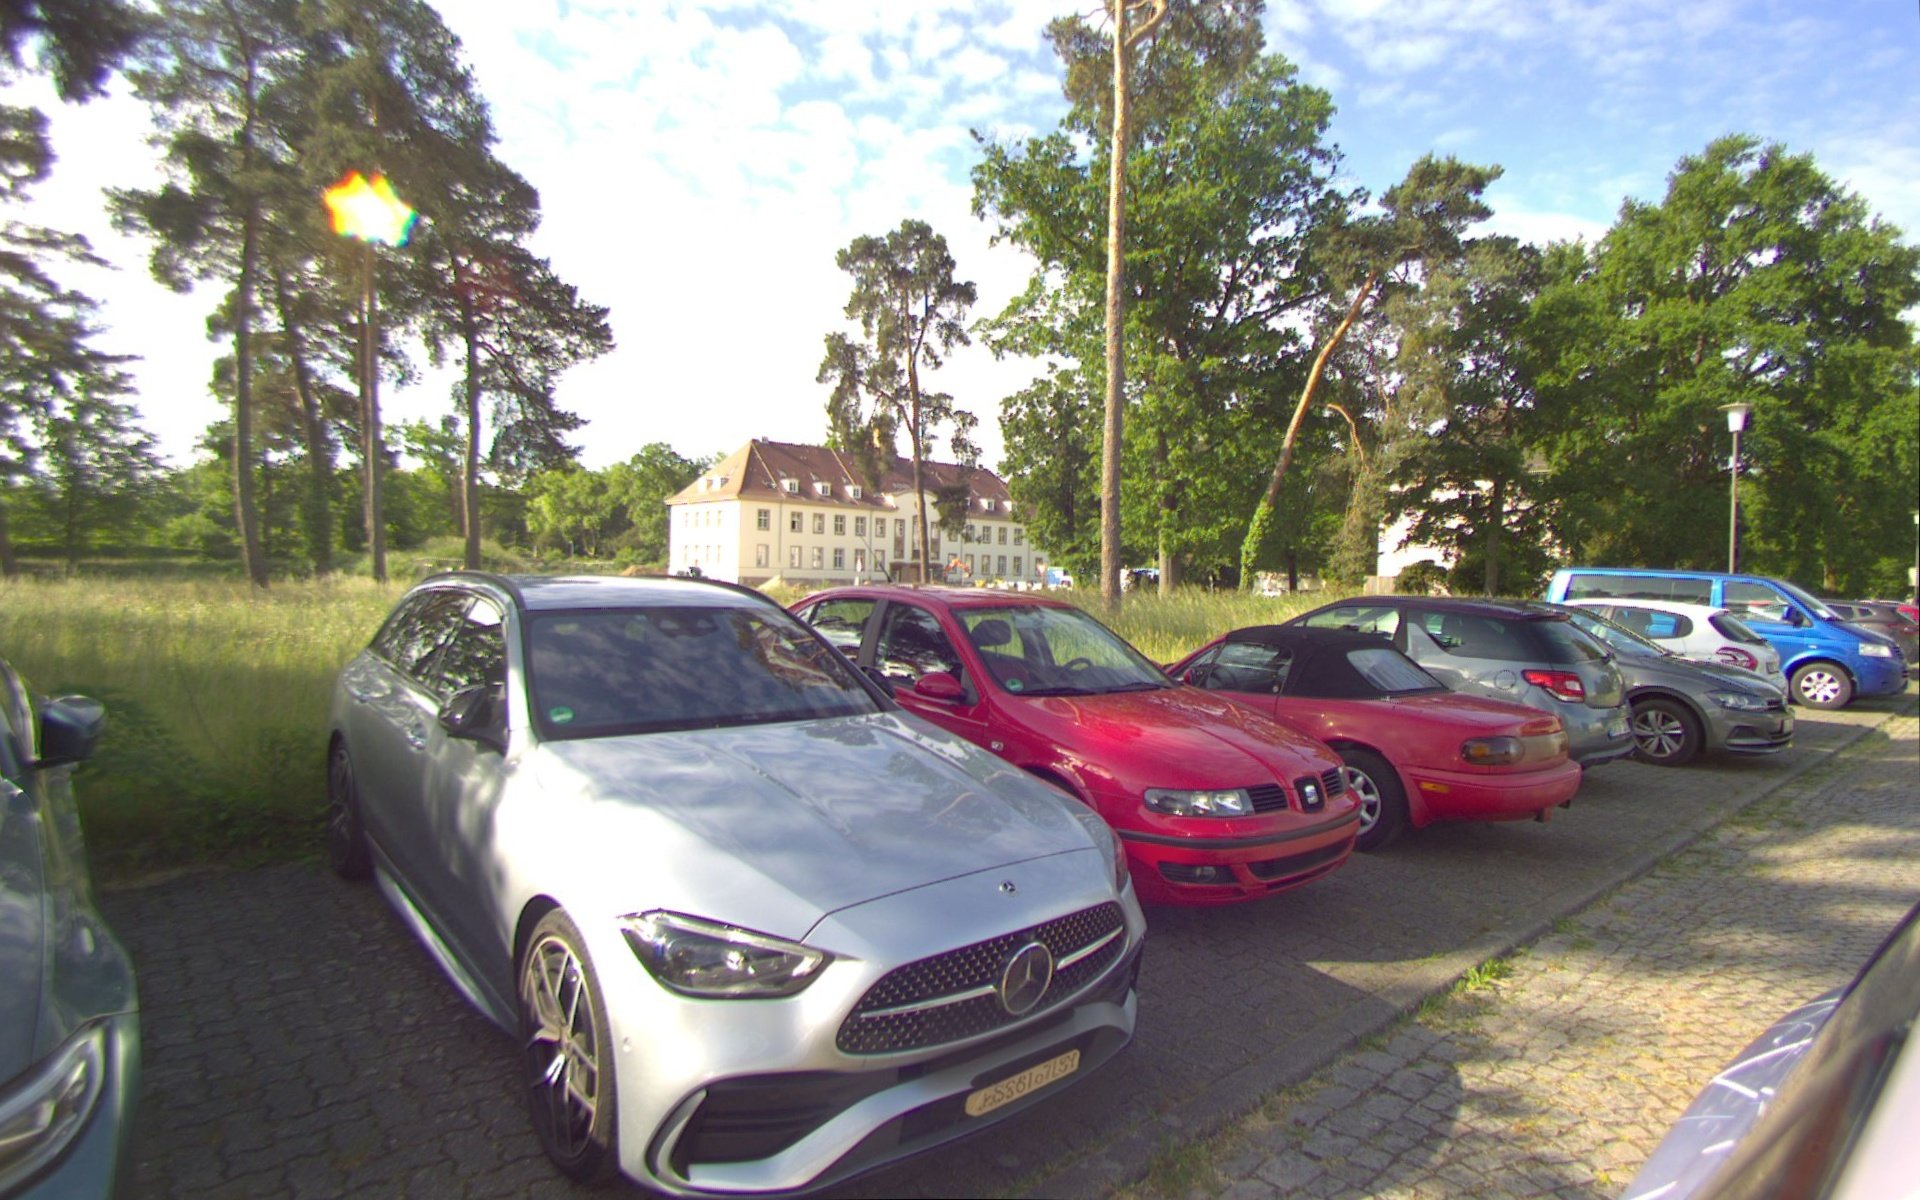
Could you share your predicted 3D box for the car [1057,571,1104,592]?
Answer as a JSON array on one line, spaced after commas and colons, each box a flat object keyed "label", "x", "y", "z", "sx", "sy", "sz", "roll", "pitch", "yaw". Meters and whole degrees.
[{"label": "car", "x": 12.149, "y": -1.833, "z": 101.593, "sx": 4.688, "sy": 2.039, "sz": 1.998, "roll": 0, "pitch": 1, "yaw": -40}]

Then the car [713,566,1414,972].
[{"label": "car", "x": 0.264, "y": 0.583, "z": 5.802, "sx": 1.632, "sy": 1.410, "sz": 3.916, "roll": 0, "pitch": 3, "yaw": -41}]

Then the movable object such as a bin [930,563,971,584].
[{"label": "movable object such as a bin", "x": -1.084, "y": -3.096, "z": 119.356, "sx": 4.906, "sy": 2.352, "sz": 1.995, "roll": 0, "pitch": 2, "yaw": -45}]

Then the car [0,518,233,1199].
[{"label": "car", "x": -3.247, "y": 0.550, "z": 2.456, "sx": 1.796, "sy": 1.535, "sz": 4.500, "roll": 0, "pitch": 3, "yaw": -44}]

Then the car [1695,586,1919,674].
[{"label": "car", "x": 18.737, "y": 0.583, "z": 22.120, "sx": 1.724, "sy": 1.660, "sz": 3.998, "roll": 0, "pitch": 2, "yaw": -38}]

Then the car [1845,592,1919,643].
[{"label": "car", "x": 33.873, "y": 0.602, "z": 35.486, "sx": 1.725, "sy": 1.763, "sz": 3.996, "roll": -1, "pitch": 0, "yaw": -38}]

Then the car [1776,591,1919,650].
[{"label": "car", "x": 26.202, "y": 0.565, "z": 29.053, "sx": 1.724, "sy": 1.537, "sz": 3.998, "roll": 0, "pitch": 2, "yaw": -38}]

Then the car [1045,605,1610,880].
[{"label": "car", "x": 2.275, "y": 0.738, "z": 6.890, "sx": 1.395, "sy": 1.271, "sz": 3.354, "roll": 0, "pitch": 2, "yaw": -41}]

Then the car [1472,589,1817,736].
[{"label": "car", "x": 8.369, "y": 0.656, "z": 12.588, "sx": 1.423, "sy": 1.509, "sz": 3.265, "roll": 0, "pitch": 2, "yaw": -38}]

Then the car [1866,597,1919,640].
[{"label": "car", "x": 37.426, "y": 0.691, "z": 38.578, "sx": 1.724, "sy": 1.635, "sz": 3.998, "roll": -1, "pitch": 0, "yaw": -36}]

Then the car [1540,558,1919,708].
[{"label": "car", "x": 12.247, "y": 0.374, "z": 16.204, "sx": 1.964, "sy": 2.038, "sz": 4.726, "roll": 0, "pitch": 2, "yaw": -39}]

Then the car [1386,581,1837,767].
[{"label": "car", "x": 6.483, "y": 0.603, "z": 10.480, "sx": 1.478, "sy": 1.509, "sz": 3.630, "roll": 0, "pitch": 2, "yaw": -31}]

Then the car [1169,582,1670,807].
[{"label": "car", "x": 3.873, "y": 0.639, "z": 9.042, "sx": 1.522, "sy": 1.509, "sz": 3.776, "roll": 0, "pitch": 2, "yaw": -41}]

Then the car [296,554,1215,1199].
[{"label": "car", "x": -1.346, "y": 0.599, "z": 4.243, "sx": 1.794, "sy": 1.419, "sz": 4.420, "roll": 0, "pitch": 3, "yaw": -41}]
